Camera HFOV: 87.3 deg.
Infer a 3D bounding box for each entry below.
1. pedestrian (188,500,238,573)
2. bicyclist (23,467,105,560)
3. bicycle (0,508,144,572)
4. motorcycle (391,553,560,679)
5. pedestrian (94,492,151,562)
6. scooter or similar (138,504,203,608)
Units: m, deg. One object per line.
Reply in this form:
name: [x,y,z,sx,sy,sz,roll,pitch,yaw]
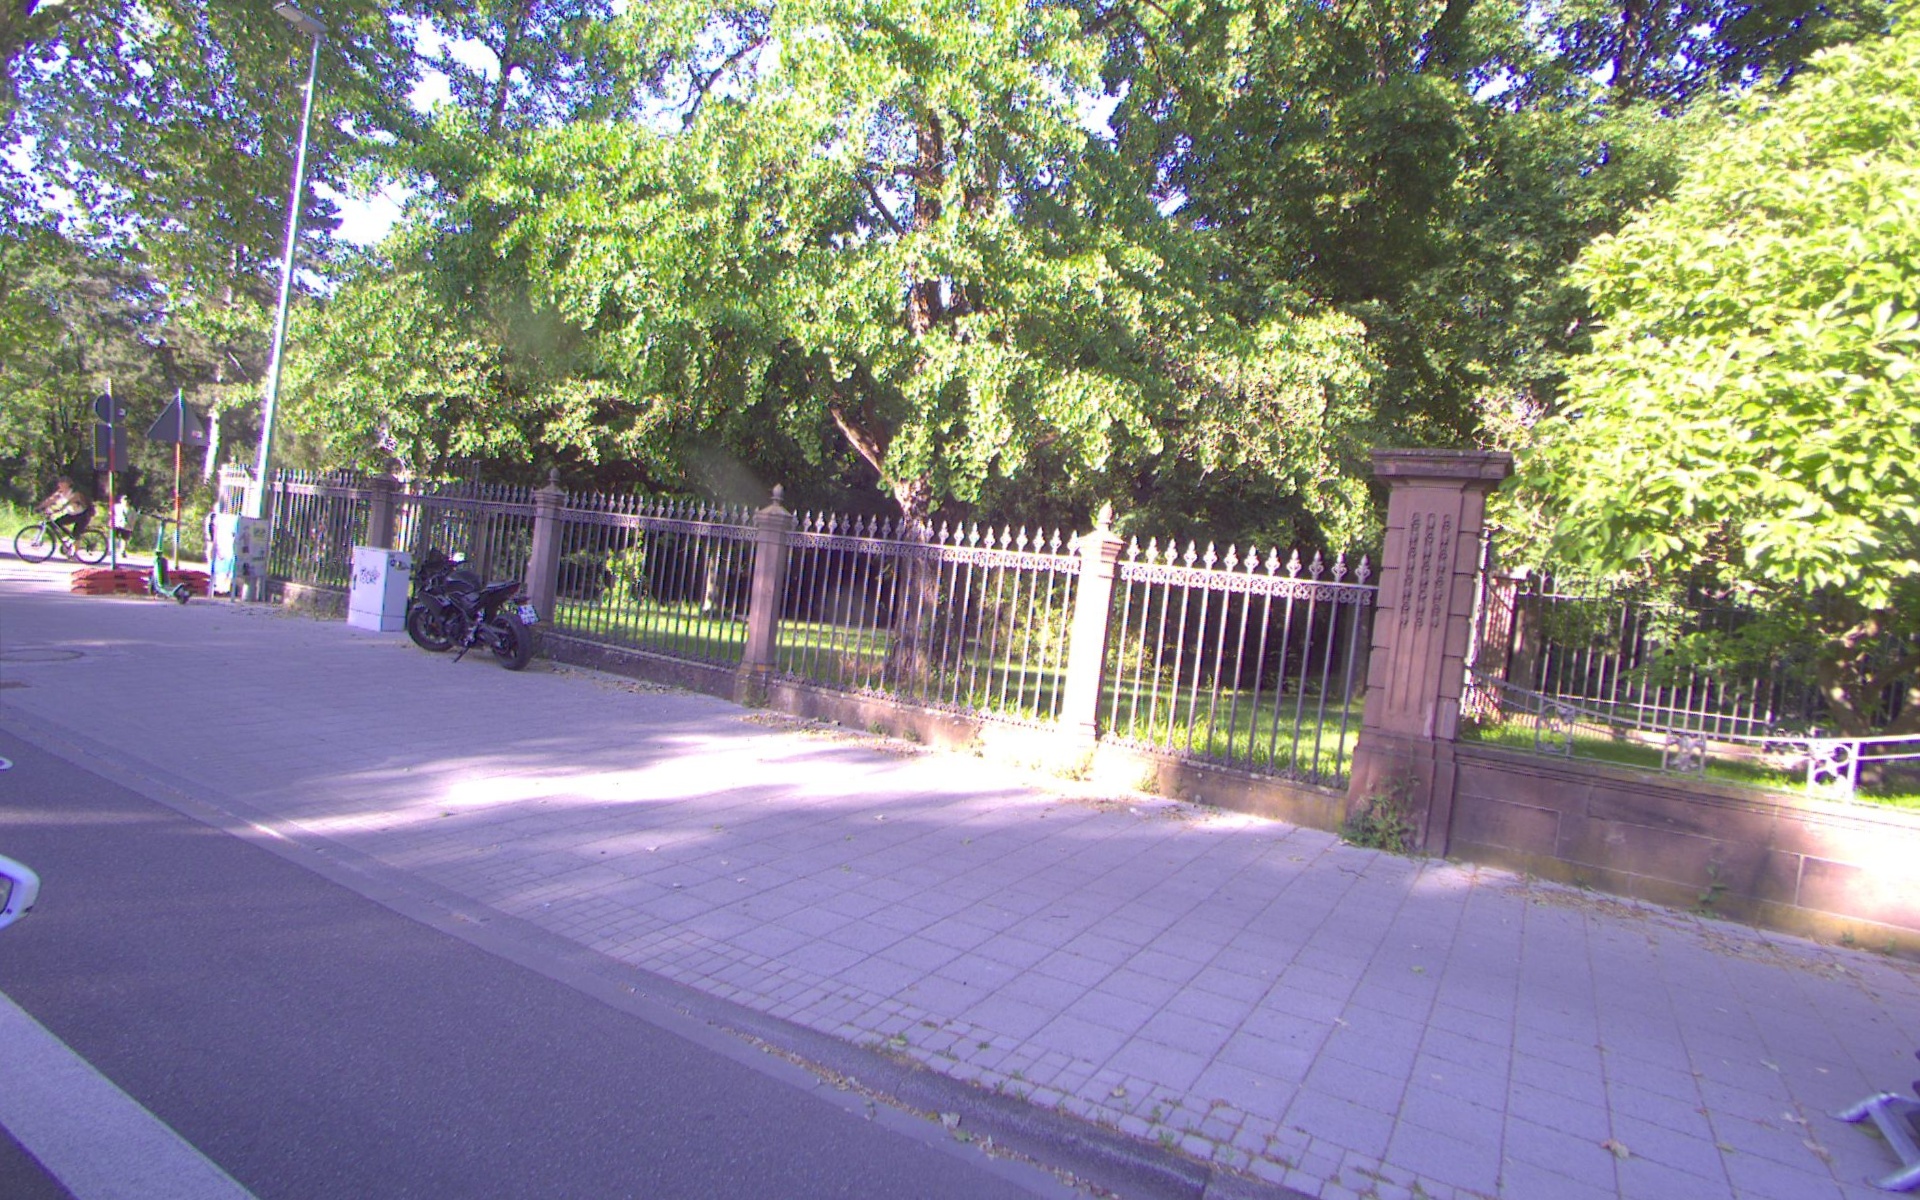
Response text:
pedestrian: [-18.963,-1.600,25.539,0.633,1.719,0.690,7,0,31]
bicyclist: [-17.151,-1.637,19.266,0.722,1.634,0.849,7,2,19]
bicycle: [-17.167,-1.138,19.390,0.736,0.988,2.099,7,1,19]
motorcycle: [-5.346,0.149,11.035,2.134,1.146,0.506,6,2,30]
pedestrian: [-20.365,-1.760,24.480,0.812,1.536,0.909,7,-1,-32]
scooter or similar: [-11.065,-0.628,14.093,1.152,1.344,0.228,7,2,30]
